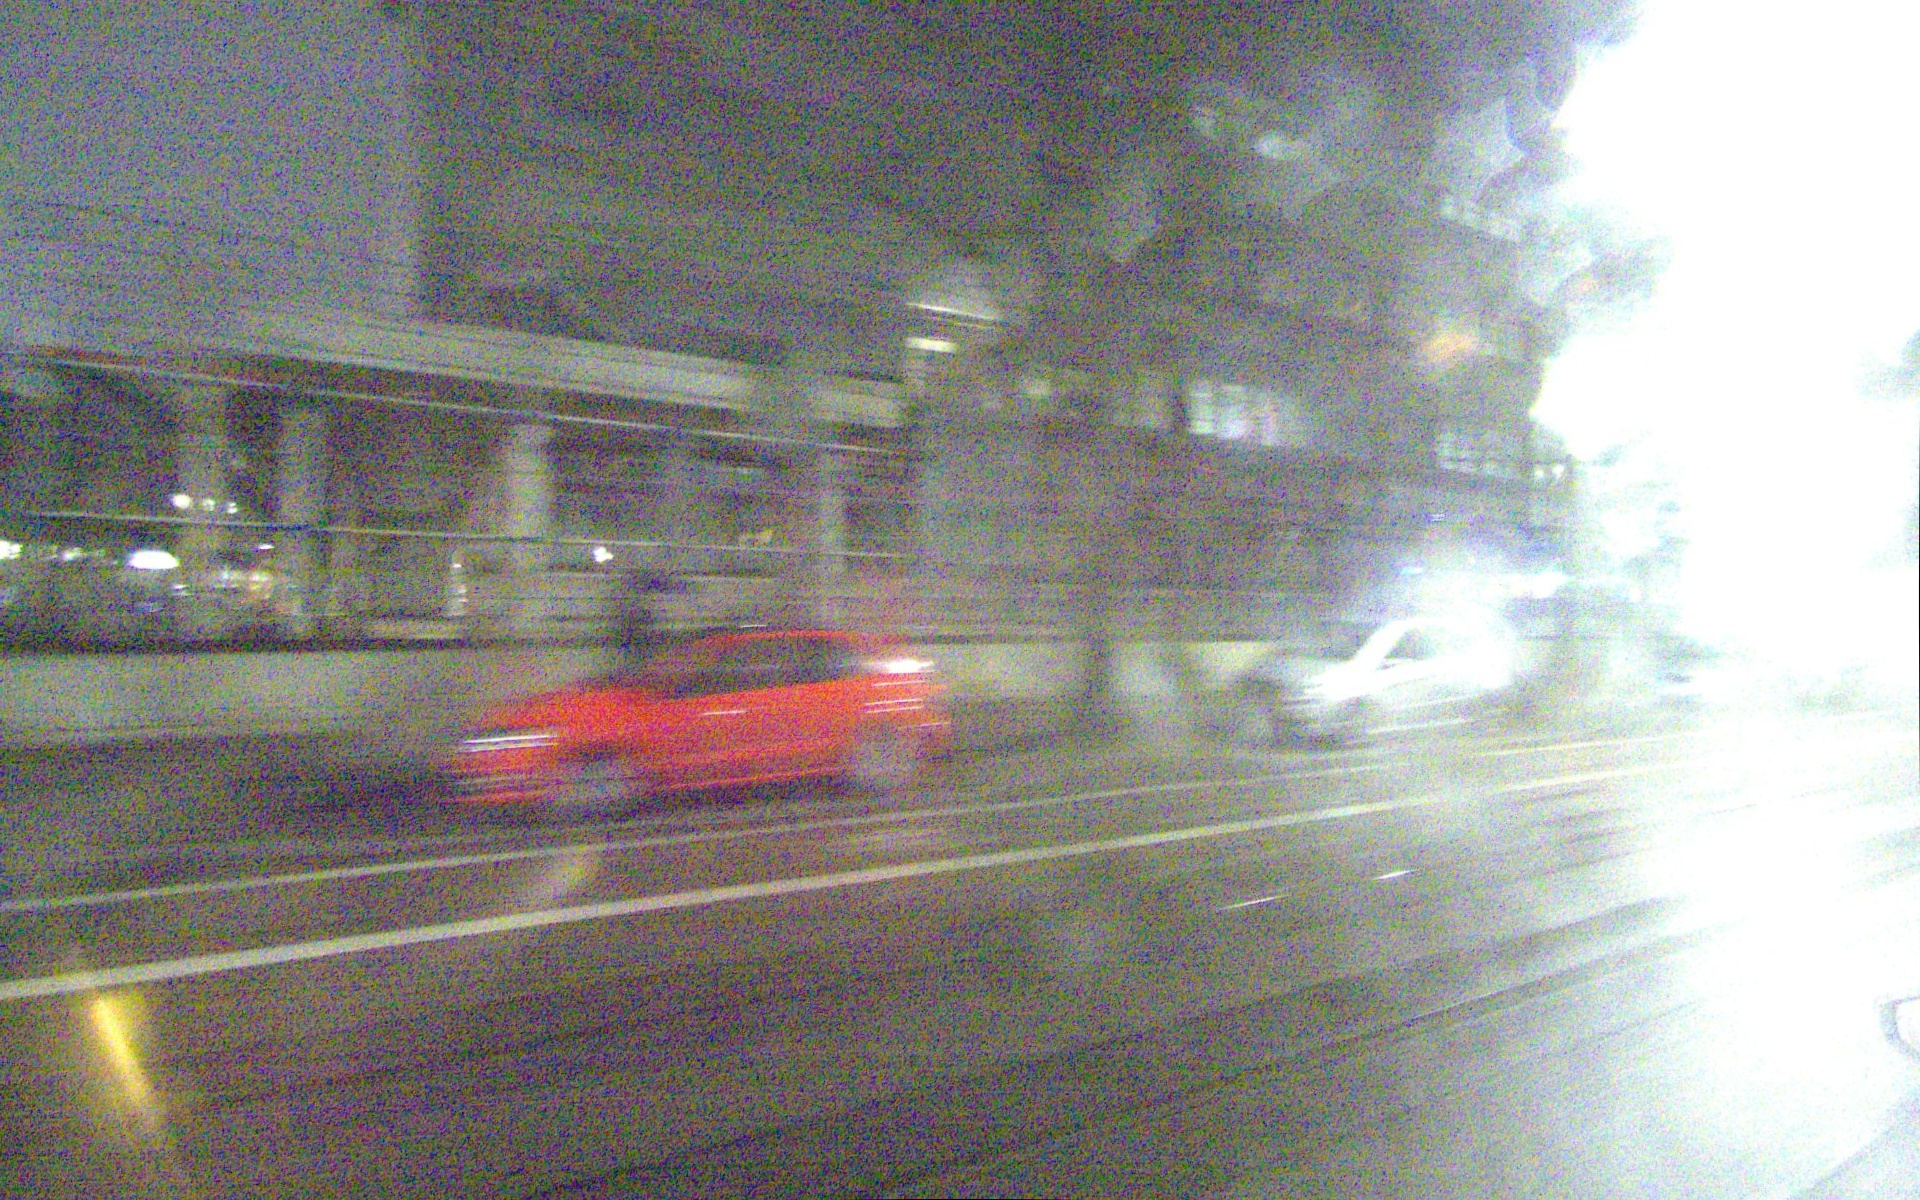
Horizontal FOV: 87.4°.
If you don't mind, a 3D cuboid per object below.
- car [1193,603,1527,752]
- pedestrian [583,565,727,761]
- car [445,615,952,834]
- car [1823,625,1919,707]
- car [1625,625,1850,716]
[{"bbox_3d":[5.330,0.908,13.267,4.302,1.600,1.800,1,3,-30],"label":"car"},{"bbox_3d":[-3.200,0.628,10.536,1.275,1.927,0.789,1,0,-30],"label":"pedestrian"},{"bbox_3d":[-2.187,0.913,8.659,3.906,1.475,1.710,2,0,-31],"label":"car"},{"bbox_3d":[22.171,1.496,23.125,4.537,1.641,2.132,2,2,-31],"label":"car"},{"bbox_3d":[14.453,1.243,18.606,4.572,1.457,1.723,2,0,-30],"label":"car"}]
